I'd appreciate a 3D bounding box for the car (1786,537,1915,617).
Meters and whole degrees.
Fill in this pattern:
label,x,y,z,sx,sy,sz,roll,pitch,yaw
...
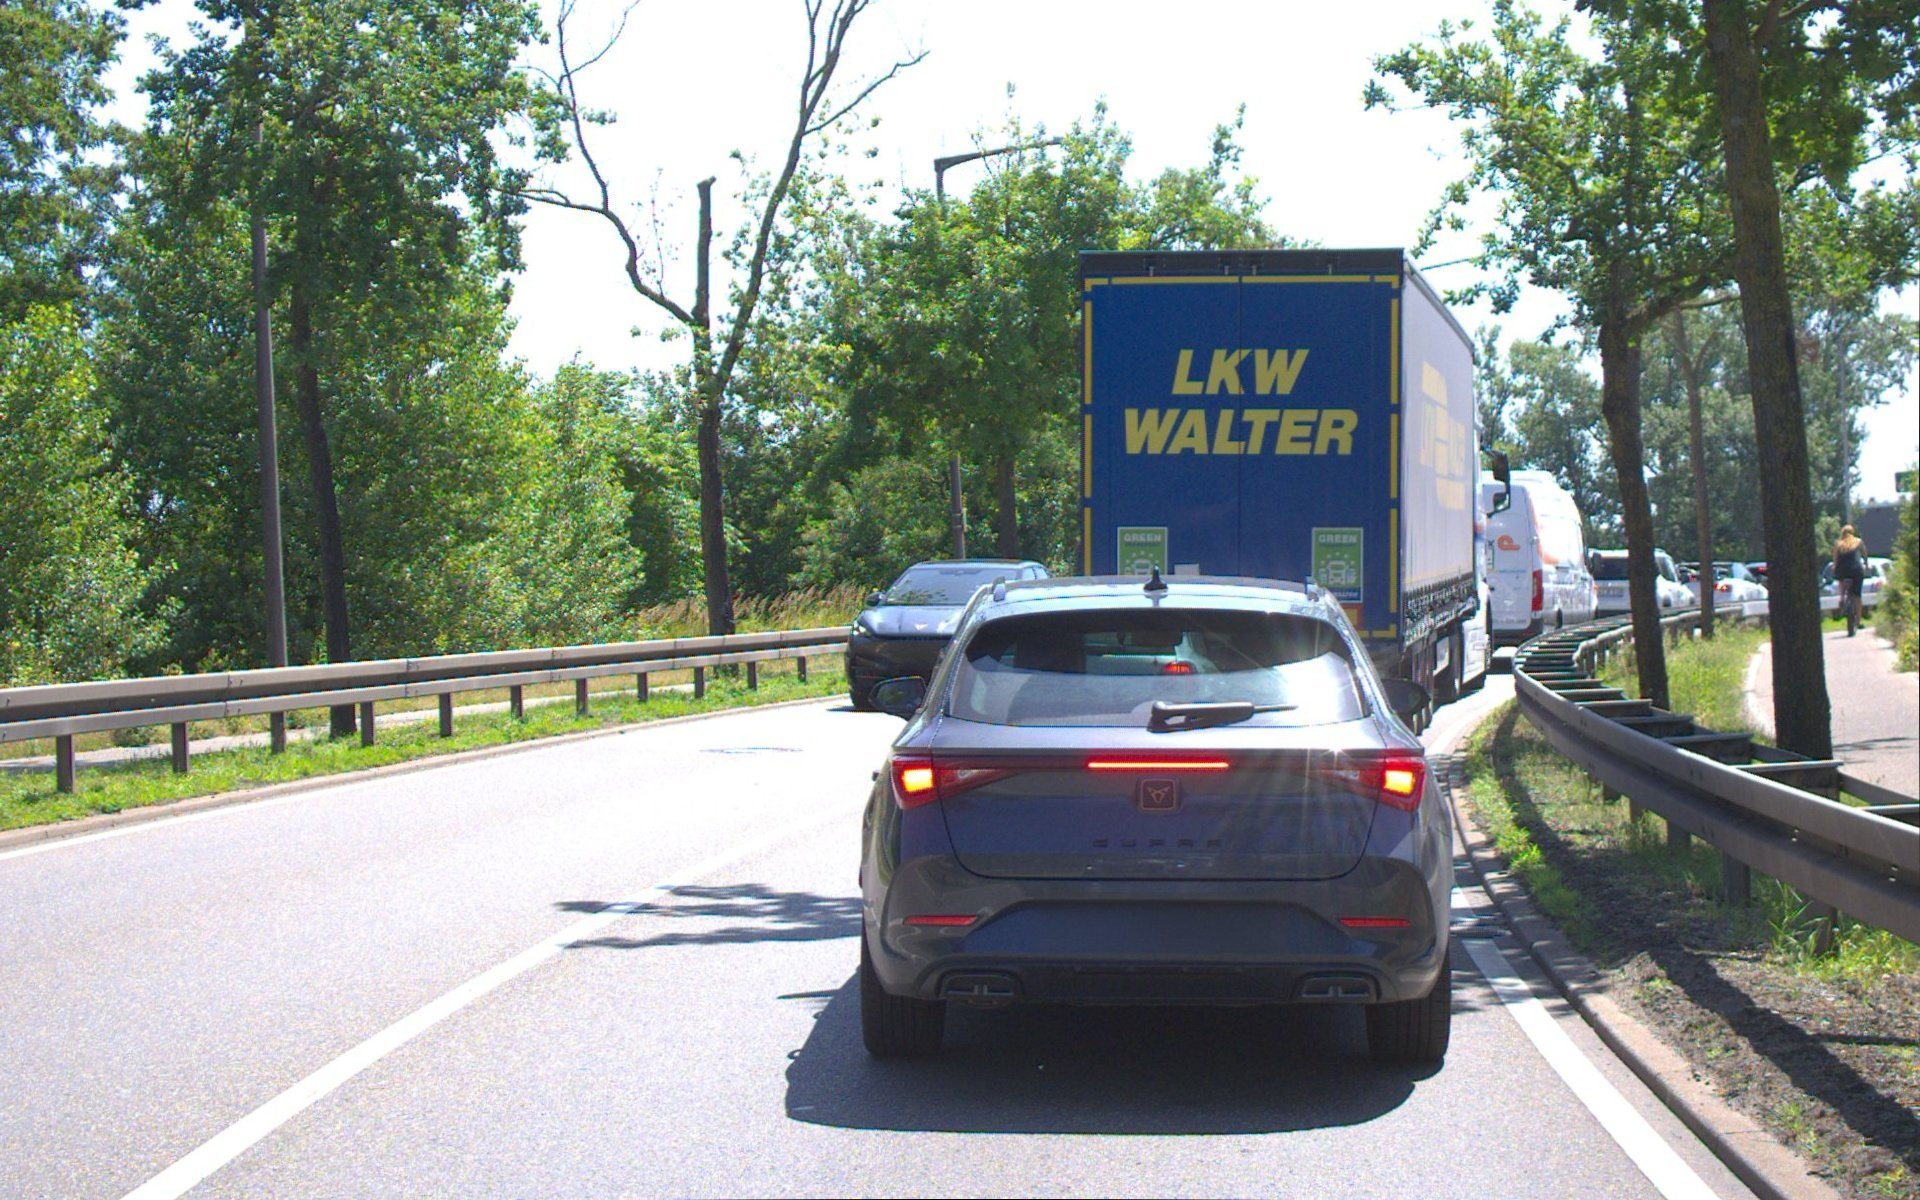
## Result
label,x,y,z,sx,sy,sz,roll,pitch,yaw
car,20.405,-0.535,78.649,1.996,1.762,4.748,1,1,25

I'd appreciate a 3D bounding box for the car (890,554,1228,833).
label,x,y,z,sx,sy,sz,roll,pitch,yaw
car,0.690,0.488,20.675,1.809,1.503,3.999,0,0,5

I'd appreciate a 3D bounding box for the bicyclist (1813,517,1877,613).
label,x,y,z,sx,sy,sz,roll,pitch,yaw
bicyclist,14.070,-0.554,54.650,0.861,1.518,0.979,0,0,22

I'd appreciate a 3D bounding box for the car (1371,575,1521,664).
label,x,y,z,sx,sy,sz,roll,pitch,yaw
car,9.514,0.346,67.022,1.871,1.598,4.388,1,1,22

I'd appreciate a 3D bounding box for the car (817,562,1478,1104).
label,x,y,z,sx,sy,sz,roll,pitch,yaw
car,0.557,0.600,11.075,1.744,1.427,3.880,0,0,2

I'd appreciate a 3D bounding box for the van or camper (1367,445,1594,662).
label,x,y,z,sx,sy,sz,roll,pitch,yaw
van or camper,7.725,-0.667,50.457,2.468,2.988,6.081,0,0,17

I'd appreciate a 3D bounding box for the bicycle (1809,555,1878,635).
label,x,y,z,sx,sy,sz,roll,pitch,yaw
bicycle,14.066,-0.088,54.692,0.861,1.232,2.307,0,0,20

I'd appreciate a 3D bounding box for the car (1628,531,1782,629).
label,x,y,z,sx,sy,sz,roll,pitch,yaw
car,14.339,-0.386,66.005,1.996,1.802,4.839,1,1,23

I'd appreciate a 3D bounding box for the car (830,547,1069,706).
label,x,y,z,sx,sy,sz,roll,pitch,yaw
car,-0.051,0.239,37.916,1.870,1.598,4.391,1,1,10

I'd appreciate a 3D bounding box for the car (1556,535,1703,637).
label,x,y,z,sx,sy,sz,roll,pitch,yaw
car,11.682,-0.252,59.781,1.995,1.706,4.616,0,0,18

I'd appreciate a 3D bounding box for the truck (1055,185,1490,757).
label,x,y,z,sx,sy,sz,roll,pitch,yaw
truck,3.704,-1.070,35.169,2.951,4.433,16.791,0,0,10

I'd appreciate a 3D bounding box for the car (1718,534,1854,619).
label,x,y,z,sx,sy,sz,roll,pitch,yaw
car,17.493,-0.500,72.634,1.996,1.711,4.862,1,1,23
